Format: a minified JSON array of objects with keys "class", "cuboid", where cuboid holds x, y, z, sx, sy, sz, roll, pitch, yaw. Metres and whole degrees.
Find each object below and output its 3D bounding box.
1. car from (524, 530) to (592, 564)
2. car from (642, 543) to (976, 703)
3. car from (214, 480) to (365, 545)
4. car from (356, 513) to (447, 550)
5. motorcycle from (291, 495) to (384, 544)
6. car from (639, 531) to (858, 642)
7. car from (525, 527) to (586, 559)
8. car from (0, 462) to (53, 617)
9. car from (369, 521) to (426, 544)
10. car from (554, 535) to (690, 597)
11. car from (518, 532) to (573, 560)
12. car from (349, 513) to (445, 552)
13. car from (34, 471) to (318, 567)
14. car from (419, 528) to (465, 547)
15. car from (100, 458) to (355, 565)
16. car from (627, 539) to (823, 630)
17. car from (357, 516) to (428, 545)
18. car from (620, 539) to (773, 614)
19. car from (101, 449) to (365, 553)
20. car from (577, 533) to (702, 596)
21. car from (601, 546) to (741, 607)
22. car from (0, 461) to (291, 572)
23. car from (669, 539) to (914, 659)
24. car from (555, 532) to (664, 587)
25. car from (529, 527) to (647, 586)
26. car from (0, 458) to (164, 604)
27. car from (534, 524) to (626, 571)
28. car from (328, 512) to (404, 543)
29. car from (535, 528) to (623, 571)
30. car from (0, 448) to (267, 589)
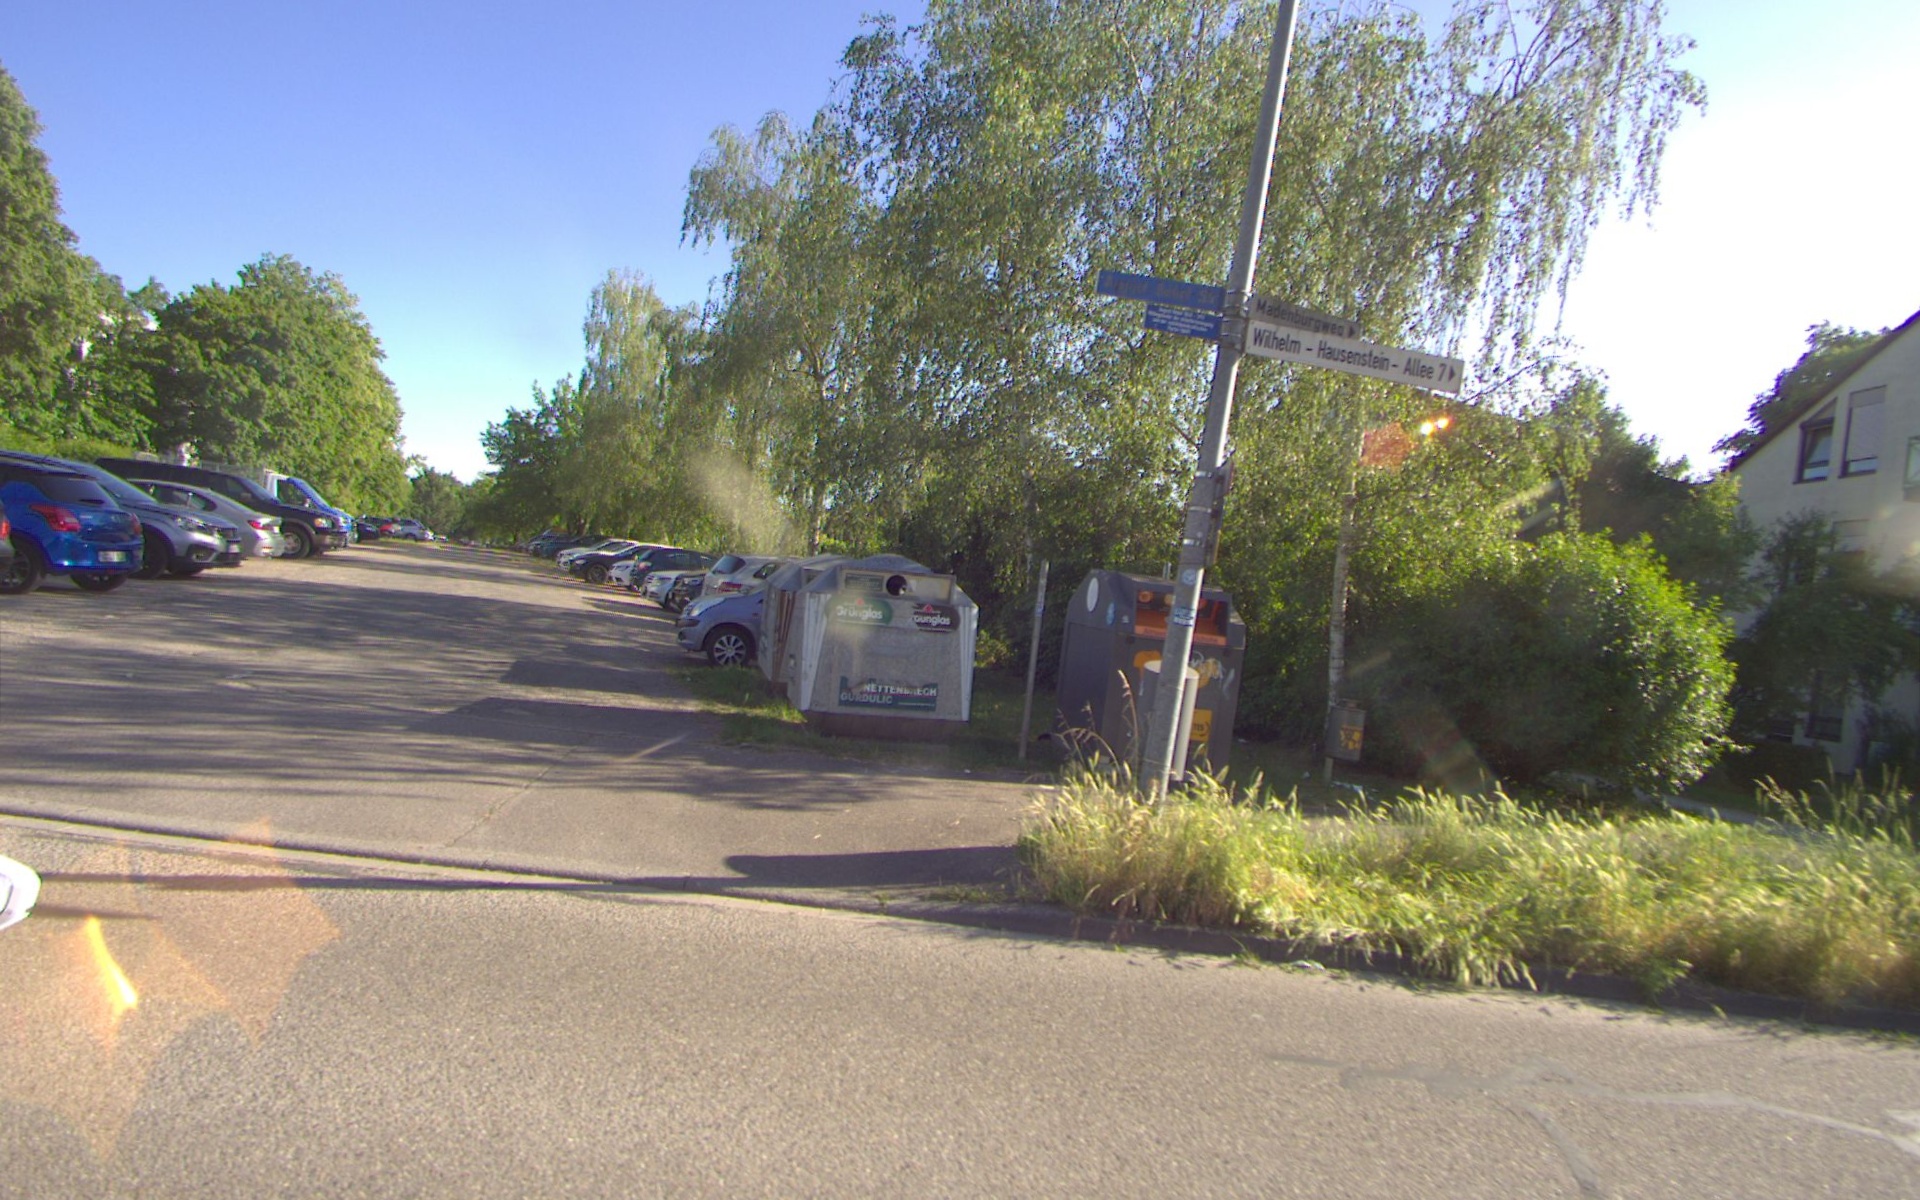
[{"class":"car","cuboid":[-26.030,-3.426,65.219,3.947,1.604,1.788,8,0,-23]},{"class":"car","cuboid":[-1.995,0.303,13.410,4.001,1.456,1.630,8,0,-13]},{"class":"car","cuboid":[-25.839,-3.322,38.971,4.479,1.793,1.835,7,1,-25]},{"class":"car","cuboid":[-28.800,-3.518,51.997,3.904,1.351,1.834,7,1,-26]},{"class":"motorcycle","cuboid":[-26.679,-3.415,43.175,3.160,1.616,0.917,7,1,-24]},{"class":"car","cuboid":[-4.479,-0.275,21.499,4.076,1.728,1.775,8,2,-32]},{"class":"car","cuboid":[-29.767,-4.194,74.123,3.947,1.729,1.788,8,0,-23]},{"class":"car","cuboid":[-10.876,-0.788,9.119,3.474,1.485,1.700,8,1,-9]},{"class":"car","cuboid":[-46.887,-5.597,83.962,3.904,1.351,1.834,7,1,-26]},{"class":"car","cuboid":[-10.993,-1.101,32.721,3.947,1.418,1.788,8,0,-23]},{"class":"car","cuboid":[-33.792,-4.391,82.043,3.947,1.604,1.788,8,0,-23]},{"class":"car","cuboid":[-27.660,-3.308,49.526,3.904,1.351,1.834,7,1,-26]},{"class":"car","cuboid":[-16.685,-1.693,21.721,4.408,1.352,1.836,7,1,-24]},{"class":"car","cuboid":[-48.331,-5.819,93.920,3.612,1.228,1.834,7,1,-26]},{"class":"car","cuboid":[-17.389,-2.052,24.153,4.474,1.793,1.838,7,1,-21]},{"class":"car","cuboid":[-5.584,-0.348,24.020,4.076,1.518,1.775,8,2,-32]},{"class":"car","cuboid":[-37.735,-4.609,67.003,3.904,1.351,1.834,7,1,-26]},{"class":"car","cuboid":[-7.575,-0.667,28.868,3.945,1.521,1.939,8,0,-20]},{"class":"car","cuboid":[-22.390,-2.985,31.429,6.203,2.174,2.393,7,1,-28]},{"class":"car","cuboid":[-11.348,-1.240,35.622,3.947,1.604,1.788,8,0,-23]},{"class":"car","cuboid":[-8.918,-0.712,31.029,3.945,1.293,1.789,8,0,-20]},{"class":"car","cuboid":[-15.043,-1.497,18.695,4.107,1.473,1.607,6,1,-28]},{"class":"car","cuboid":[-3.134,0.005,18.879,4.024,1.623,1.775,8,2,-31]},{"class":"car","cuboid":[-14.192,-1.623,40.760,3.947,1.604,1.788,8,0,-23]},{"class":"car","cuboid":[-14.040,-1.630,37.991,3.947,1.604,1.788,8,0,-23]},{"class":"car","cuboid":[-11.702,-0.946,11.492,3.632,1.516,1.646,6,2,-13]},{"class":"car","cuboid":[-18.206,-2.501,48.259,3.947,1.604,1.788,8,0,-23]},{"class":"car","cuboid":[-37.496,-4.555,63.604,3.904,1.351,1.834,7,1,-26]},{"class":"car","cuboid":[-19.338,-2.541,51.145,3.947,1.604,1.788,8,0,-23]},{"class":"car","cuboid":[-13.546,-1.305,14.954,4.937,1.676,1.775,6,2,-20]}]
